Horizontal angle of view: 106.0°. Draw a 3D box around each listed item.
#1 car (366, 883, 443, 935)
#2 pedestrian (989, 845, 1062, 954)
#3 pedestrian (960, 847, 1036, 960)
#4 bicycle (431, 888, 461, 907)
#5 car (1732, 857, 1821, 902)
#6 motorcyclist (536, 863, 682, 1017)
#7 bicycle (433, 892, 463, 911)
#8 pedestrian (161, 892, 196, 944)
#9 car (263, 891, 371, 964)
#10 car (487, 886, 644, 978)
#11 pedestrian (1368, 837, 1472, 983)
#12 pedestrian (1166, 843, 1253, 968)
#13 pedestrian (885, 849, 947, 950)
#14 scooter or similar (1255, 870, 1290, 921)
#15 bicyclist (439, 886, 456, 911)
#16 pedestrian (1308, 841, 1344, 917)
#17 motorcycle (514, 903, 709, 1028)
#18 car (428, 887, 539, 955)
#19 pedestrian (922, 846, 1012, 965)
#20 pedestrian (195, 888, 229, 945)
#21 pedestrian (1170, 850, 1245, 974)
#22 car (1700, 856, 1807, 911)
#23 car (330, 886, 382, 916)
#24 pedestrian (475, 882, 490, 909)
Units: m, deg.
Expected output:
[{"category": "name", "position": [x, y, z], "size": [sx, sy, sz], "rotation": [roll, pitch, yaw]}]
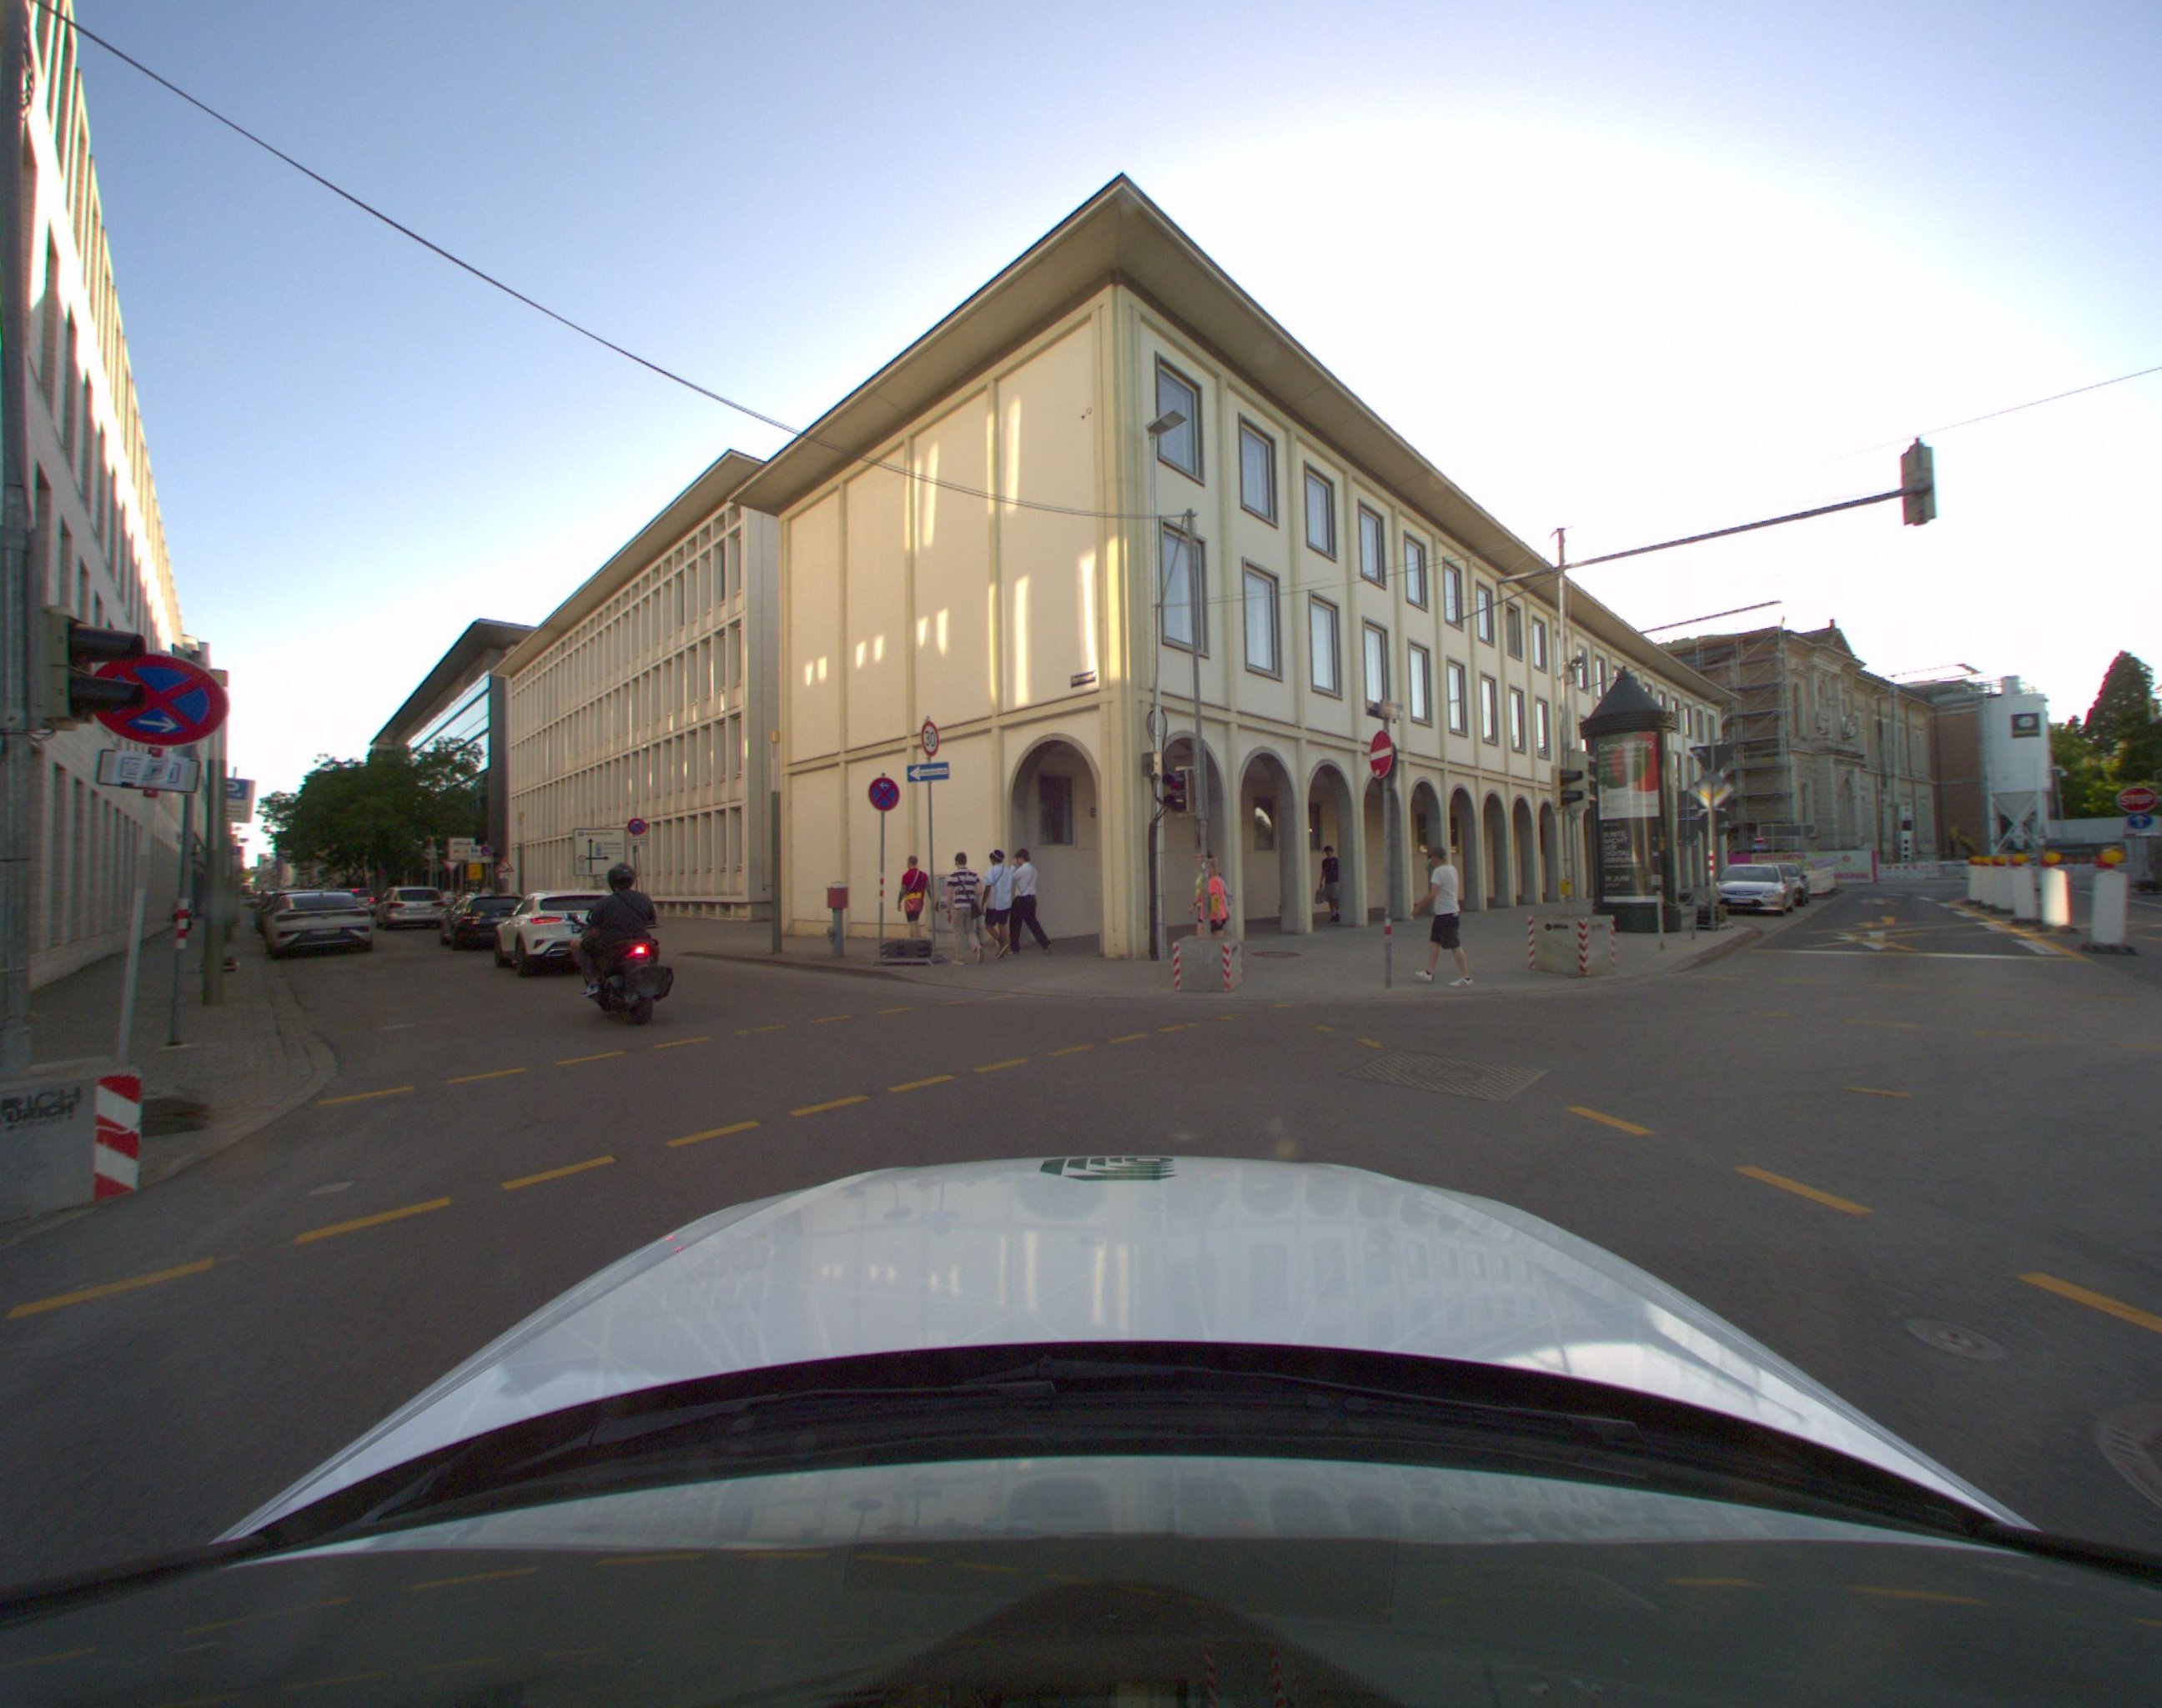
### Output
[{"category": "car", "position": [-27.281, 2.185, 32.811], "size": [3.949, 1.857, 1.942], "rotation": [-3, -1, 44]}, {"category": "pedestrian", "position": [-0.966, 0.777, 14.104], "size": [0.929, 1.777, 0.715], "rotation": [-3, 1, 44]}, {"category": "pedestrian", "position": [-1.382, 0.810, 13.602], "size": [0.929, 1.777, 0.715], "rotation": [-3, 1, 44]}, {"category": "bicycle", "position": [-45.644, 3.127, 58.528], "size": [1.571, 1.250, 0.547], "rotation": [-2, -1, -25]}, {"category": "car", "position": [24.556, 0.874, 28.714], "size": [4.022, 1.466, 1.907], "rotation": [1, -2, -42]}, {"category": "motorcyclist", "position": [-5.293, 0.916, 9.134], "size": [1.223, 1.559, 0.963], "rotation": [-3, -2, 36]}, {"category": "bicycle", "position": [-44.682, 3.353, 57.528], "size": [1.571, 1.250, 0.547], "rotation": [-2, -1, -25]}, {"category": "pedestrian", "position": [-29.608, 2.091, 26.735], "size": [0.850, 1.614, 0.711], "rotation": [-3, -1, 44]}, {"category": "car", "position": [-20.126, 1.847, 21.390], "size": [4.213, 1.606, 1.827], "rotation": [-3, 0, 44]}, {"category": "car", "position": [-9.841, 1.374, 15.419], "size": [1.875, 1.472, 3.951], "rotation": [1, -3, -42]}, {"category": "pedestrian", "position": [4.282, 0.672, 10.299], "size": [0.965, 1.728, 0.803], "rotation": [-2, -1, 44]}, {"category": "pedestrian", "position": [1.876, 0.725, 11.912], "size": [0.956, 1.709, 0.679], "rotation": [-2, 2, 44]}, {"category": "pedestrian", "position": [-3.100, 0.836, 15.265], "size": [0.765, 1.801, 0.715], "rotation": [-3, 1, 44]}, {"category": "scooter or similar", "position": [4.793, 1.026, 20.346], "size": [0.612, 1.157, 0.964], "rotation": [-3, 1, 25]}, {"category": "bicyclist", "position": [-44.768, 3.108, 57.526], "size": [0.750, 1.706, 0.731], "rotation": [-2, -1, -25]}, {"category": "pedestrian", "position": [6.183, 0.628, 20.540], "size": [0.634, 1.840, 0.732], "rotation": [-3, 1, 31]}, {"category": "motorcycle", "position": [-5.334, 1.184, 9.175], "size": [2.545, 1.183, 0.914], "rotation": [-3, -1, 36]}, {"category": "car", "position": [-16.139, 1.739, 21.917], "size": [4.055, 1.550, 1.790], "rotation": [-3, -1, 45]}, {"category": "pedestrian", "position": [-1.863, 0.821, 13.259], "size": [1.231, 1.801, 0.721], "rotation": [-3, 1, 44]}, {"category": "pedestrian", "position": [-28.618, 2.048, 26.827], "size": [0.718, 1.786, 0.711], "rotation": [-3, -2, 44]}, {"category": "pedestrian", "position": [1.762, 0.782, 11.355], "size": [0.718, 1.624, 0.624], "rotation": [-2, 2, 44]}, {"category": "car", "position": [19.981, 0.842, 24.156], "size": [4.022, 1.466, 1.907], "rotation": [1, -2, -42]}, {"category": "car", "position": [-41.947, 2.707, 47.082], "size": [3.949, 1.596, 1.916], "rotation": [-3, -2, 44]}, {"category": "pedestrian", "position": [-36.747, 2.540, 49.987], "size": [0.648, 1.601, 0.612], "rotation": [-1, -2, -44]}]
